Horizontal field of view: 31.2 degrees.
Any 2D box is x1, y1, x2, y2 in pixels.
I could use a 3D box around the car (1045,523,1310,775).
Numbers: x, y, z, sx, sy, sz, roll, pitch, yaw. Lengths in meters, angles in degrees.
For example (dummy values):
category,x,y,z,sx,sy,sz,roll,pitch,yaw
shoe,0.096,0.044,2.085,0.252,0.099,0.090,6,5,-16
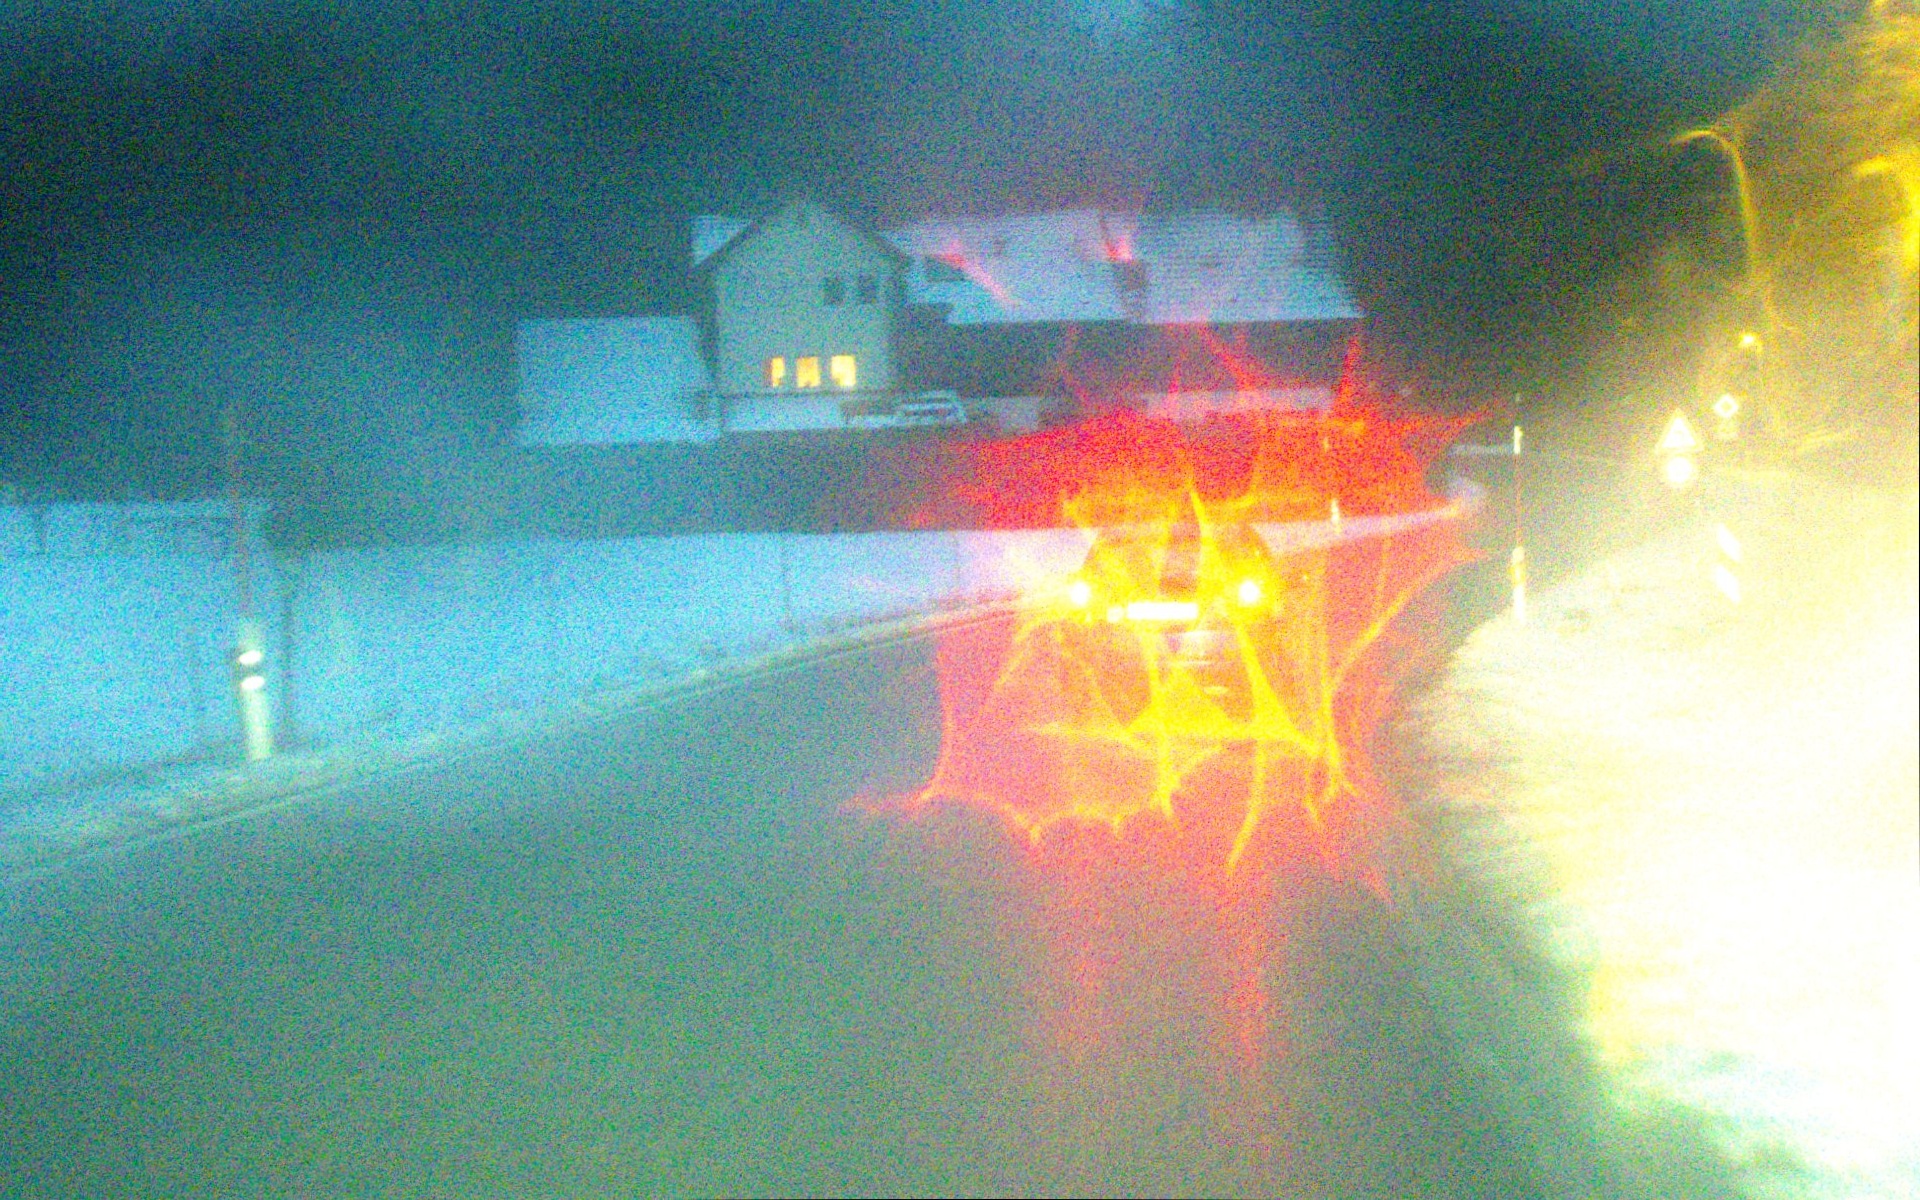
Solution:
category,x,y,z,sx,sy,sz,roll,pitch,yaw
car,1.667,0.355,27.442,1.822,1.790,3.578,-3,0,1
